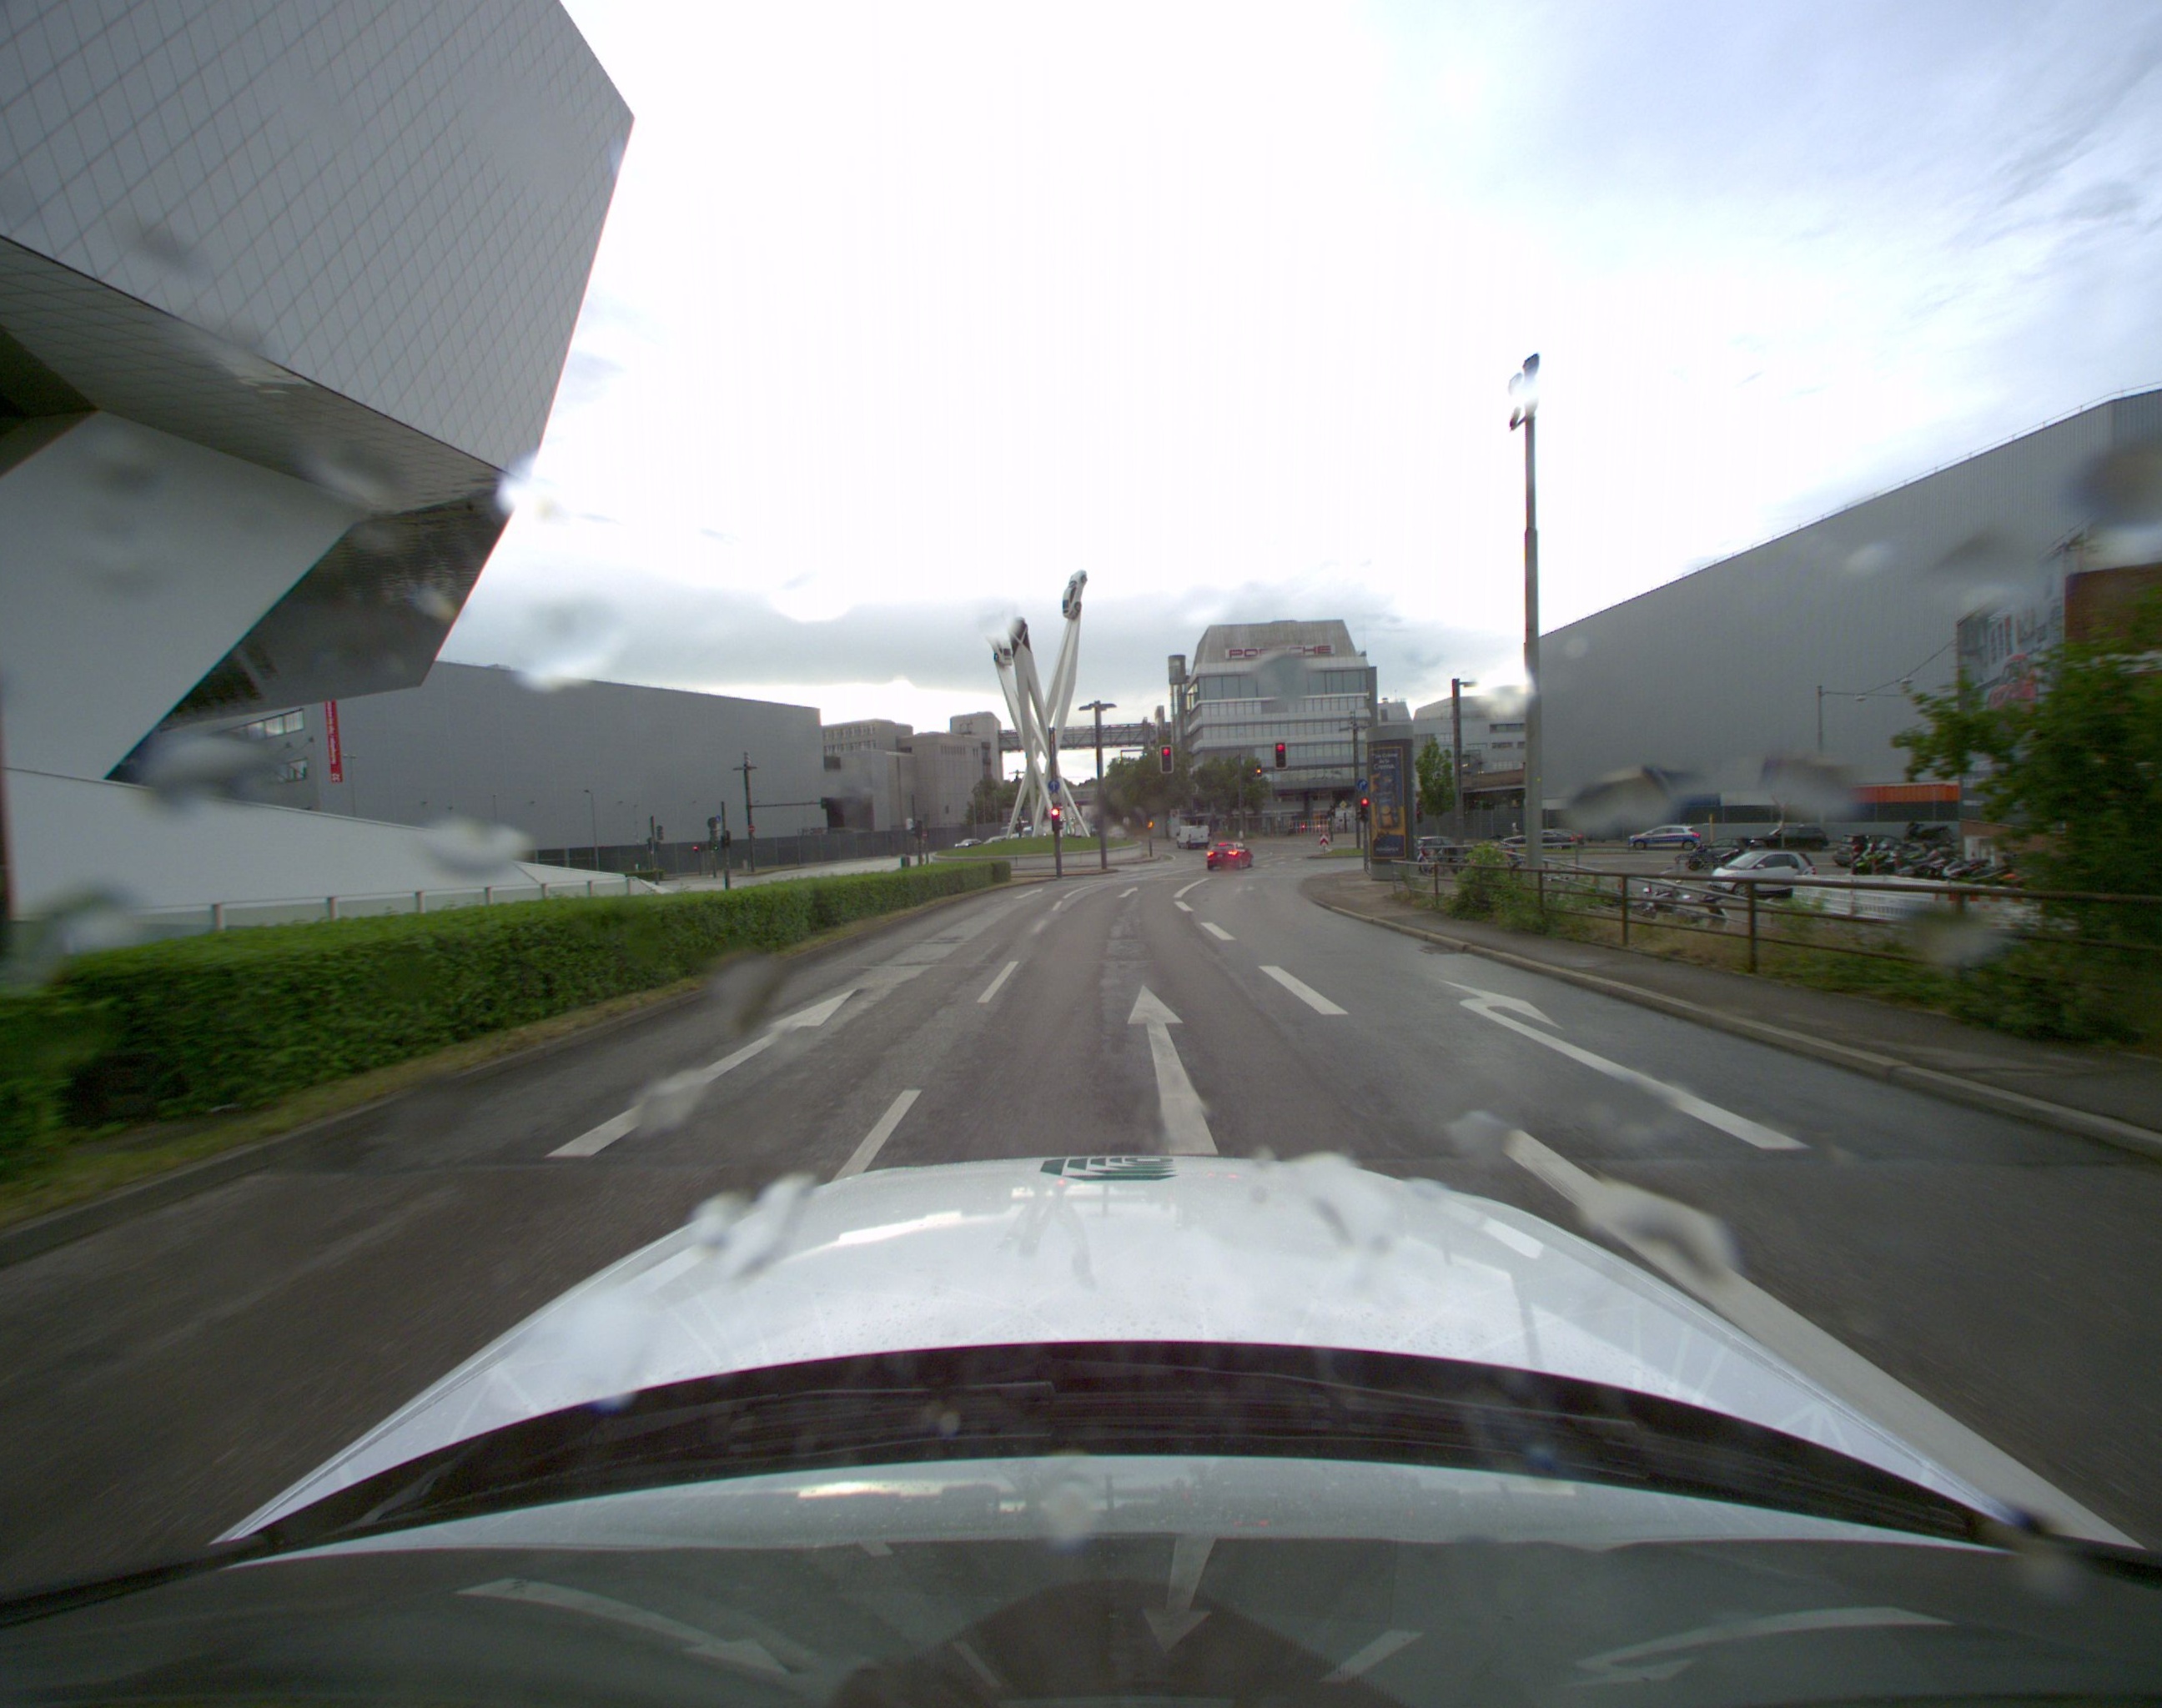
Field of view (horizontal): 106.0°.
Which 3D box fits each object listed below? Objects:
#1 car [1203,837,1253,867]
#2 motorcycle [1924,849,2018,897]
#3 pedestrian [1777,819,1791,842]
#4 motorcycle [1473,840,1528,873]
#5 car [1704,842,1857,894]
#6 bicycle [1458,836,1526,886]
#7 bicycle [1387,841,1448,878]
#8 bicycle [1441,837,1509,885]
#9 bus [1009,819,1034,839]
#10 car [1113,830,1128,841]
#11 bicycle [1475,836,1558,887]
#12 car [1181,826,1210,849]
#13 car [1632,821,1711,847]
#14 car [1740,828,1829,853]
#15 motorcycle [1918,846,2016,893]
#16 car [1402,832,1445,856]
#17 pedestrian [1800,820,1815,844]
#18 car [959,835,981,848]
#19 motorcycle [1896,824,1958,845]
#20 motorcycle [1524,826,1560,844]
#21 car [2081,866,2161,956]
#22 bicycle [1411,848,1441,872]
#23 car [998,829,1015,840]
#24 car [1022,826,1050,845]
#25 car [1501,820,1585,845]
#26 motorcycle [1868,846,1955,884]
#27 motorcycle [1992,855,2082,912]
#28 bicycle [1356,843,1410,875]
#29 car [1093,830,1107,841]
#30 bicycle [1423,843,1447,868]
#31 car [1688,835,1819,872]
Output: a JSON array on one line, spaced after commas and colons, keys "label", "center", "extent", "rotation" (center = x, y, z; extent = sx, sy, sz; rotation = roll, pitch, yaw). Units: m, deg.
[{"label": "car", "center": [7.762, -0.099, 42.832], "extent": [1.757, 1.464, 3.753], "rotation": [-2, 0, 23]}, {"label": "motorcycle", "center": [26.989, 0.566, 24.730], "extent": [1.850, 1.309, 0.576], "rotation": [-4, 2, 19]}, {"label": "pedestrian", "center": [45.425, -1.499, 52.644], "extent": [0.426, 1.481, 0.606], "rotation": [-2, 1, -41]}, {"label": "motorcycle", "center": [19.616, 0.126, 38.125], "extent": [2.208, 1.452, 0.761], "rotation": [-1, 1, 24]}, {"label": "car", "center": [23.362, 0.452, 27.332], "extent": [3.525, 1.481, 1.700], "rotation": [-2, 3, 13]}, {"label": "bicycle", "center": [10.880, 0.172, 21.539], "extent": [1.938, 1.224, 0.594], "rotation": [-3, 0, -29]}, {"label": "bicycle", "center": [11.513, 0.187, 27.912], "extent": [1.792, 1.161, 0.593], "rotation": [-3, 0, 4]}, {"label": "bicycle", "center": [10.798, 0.176, 22.323], "extent": [1.937, 1.224, 0.594], "rotation": [-3, 0, -27]}, {"label": "bus", "center": [-9.959, -4.189, 138.091], "extent": [2.658, 3.200, 12.679], "rotation": [-2, 1, 3]}, {"label": "car", "center": [5.322, -2.534, 110.330], "extent": [1.663, 1.301, 3.883], "rotation": [-2, 0, -2]}, {"label": "bicycle", "center": [11.025, 0.187, 20.635], "extent": [1.929, 1.178, 0.596], "rotation": [-3, 0, -15]}, {"label": "car", "center": [11.102, -1.553, 79.145], "extent": [2.224, 2.107, 4.956], "rotation": [-2, 0, 2]}, {"label": "car", "center": [37.936, -1.303, 52.380], "extent": [3.931, 1.601, 1.923], "rotation": [1, 2, 43]}, {"label": "car", "center": [42.030, -0.830, 48.675], "extent": [3.950, 1.392, 1.768], "rotation": [1, 3, 43]}, {"label": "motorcycle", "center": [27.765, 0.479, 25.556], "extent": [2.001, 1.309, 0.691], "rotation": [-4, 2, 15]}, {"label": "car", "center": [19.385, -0.552, 46.217], "extent": [1.599, 1.291, 3.579], "rotation": [-2, 0, 13]}, {"label": "pedestrian", "center": [45.705, -1.367, 51.212], "extent": [0.441, 1.481, 0.642], "rotation": [-2, 1, -43]}, {"label": "car", "center": [-14.103, -1.572, 103.411], "extent": [1.825, 1.472, 4.518], "rotation": [-2, 1, 3]}, {"label": "motorcycle", "center": [51.040, -1.186, 49.166], "extent": [2.462, 1.186, 1.006], "rotation": [-1, 1, 38]}, {"label": "motorcycle", "center": [35.152, -1.454, 62.124], "extent": [2.330, 1.344, 0.657], "rotation": [-1, 1, 42]}, {"label": "car", "center": [21.319, 1.181, 14.551], "extent": [1.692, 1.609, 4.266], "rotation": [0, 3, 1]}, {"label": "bicycle", "center": [13.249, 0.215, 31.290], "extent": [0.687, 0.905, 2.182], "rotation": [-1, 0, 13]}, {"label": "car", "center": [-11.270, -2.961, 123.573], "extent": [1.825, 1.472, 4.518], "rotation": [-2, 1, 3]}, {"label": "car", "center": [-5.889, -2.435, 107.325], "extent": [1.978, 2.447, 5.450], "rotation": [-2, 1, 16]}, {"label": "car", "center": [30.452, -1.401, 53.756], "extent": [4.527, 1.539, 1.768], "rotation": [1, 3, 43]}, {"label": "motorcycle", "center": [28.887, 0.376, 28.368], "extent": [1.996, 1.190, 0.614], "rotation": [-3, 2, 34]}, {"label": "motorcycle", "center": [25.912, 0.788, 22.122], "extent": [0.917, 1.309, 1.998], "rotation": [-4, 2, 30]}, {"label": "bicycle", "center": [11.357, 0.178, 30.678], "extent": [1.759, 1.140, 0.680], "rotation": [-2, -1, 8]}, {"label": "car", "center": [2.554, -2.503, 111.166], "extent": [1.555, 1.288, 3.407], "rotation": [-2, 0, -6]}, {"label": "bicycle", "center": [16.870, 0.070, 38.778], "extent": [1.761, 1.097, 0.381], "rotation": [-2, 0, -44]}, {"label": "car", "center": [29.745, -0.049, 36.183], "extent": [1.837, 1.530, 4.136], "rotation": [-1, 1, -21]}]
